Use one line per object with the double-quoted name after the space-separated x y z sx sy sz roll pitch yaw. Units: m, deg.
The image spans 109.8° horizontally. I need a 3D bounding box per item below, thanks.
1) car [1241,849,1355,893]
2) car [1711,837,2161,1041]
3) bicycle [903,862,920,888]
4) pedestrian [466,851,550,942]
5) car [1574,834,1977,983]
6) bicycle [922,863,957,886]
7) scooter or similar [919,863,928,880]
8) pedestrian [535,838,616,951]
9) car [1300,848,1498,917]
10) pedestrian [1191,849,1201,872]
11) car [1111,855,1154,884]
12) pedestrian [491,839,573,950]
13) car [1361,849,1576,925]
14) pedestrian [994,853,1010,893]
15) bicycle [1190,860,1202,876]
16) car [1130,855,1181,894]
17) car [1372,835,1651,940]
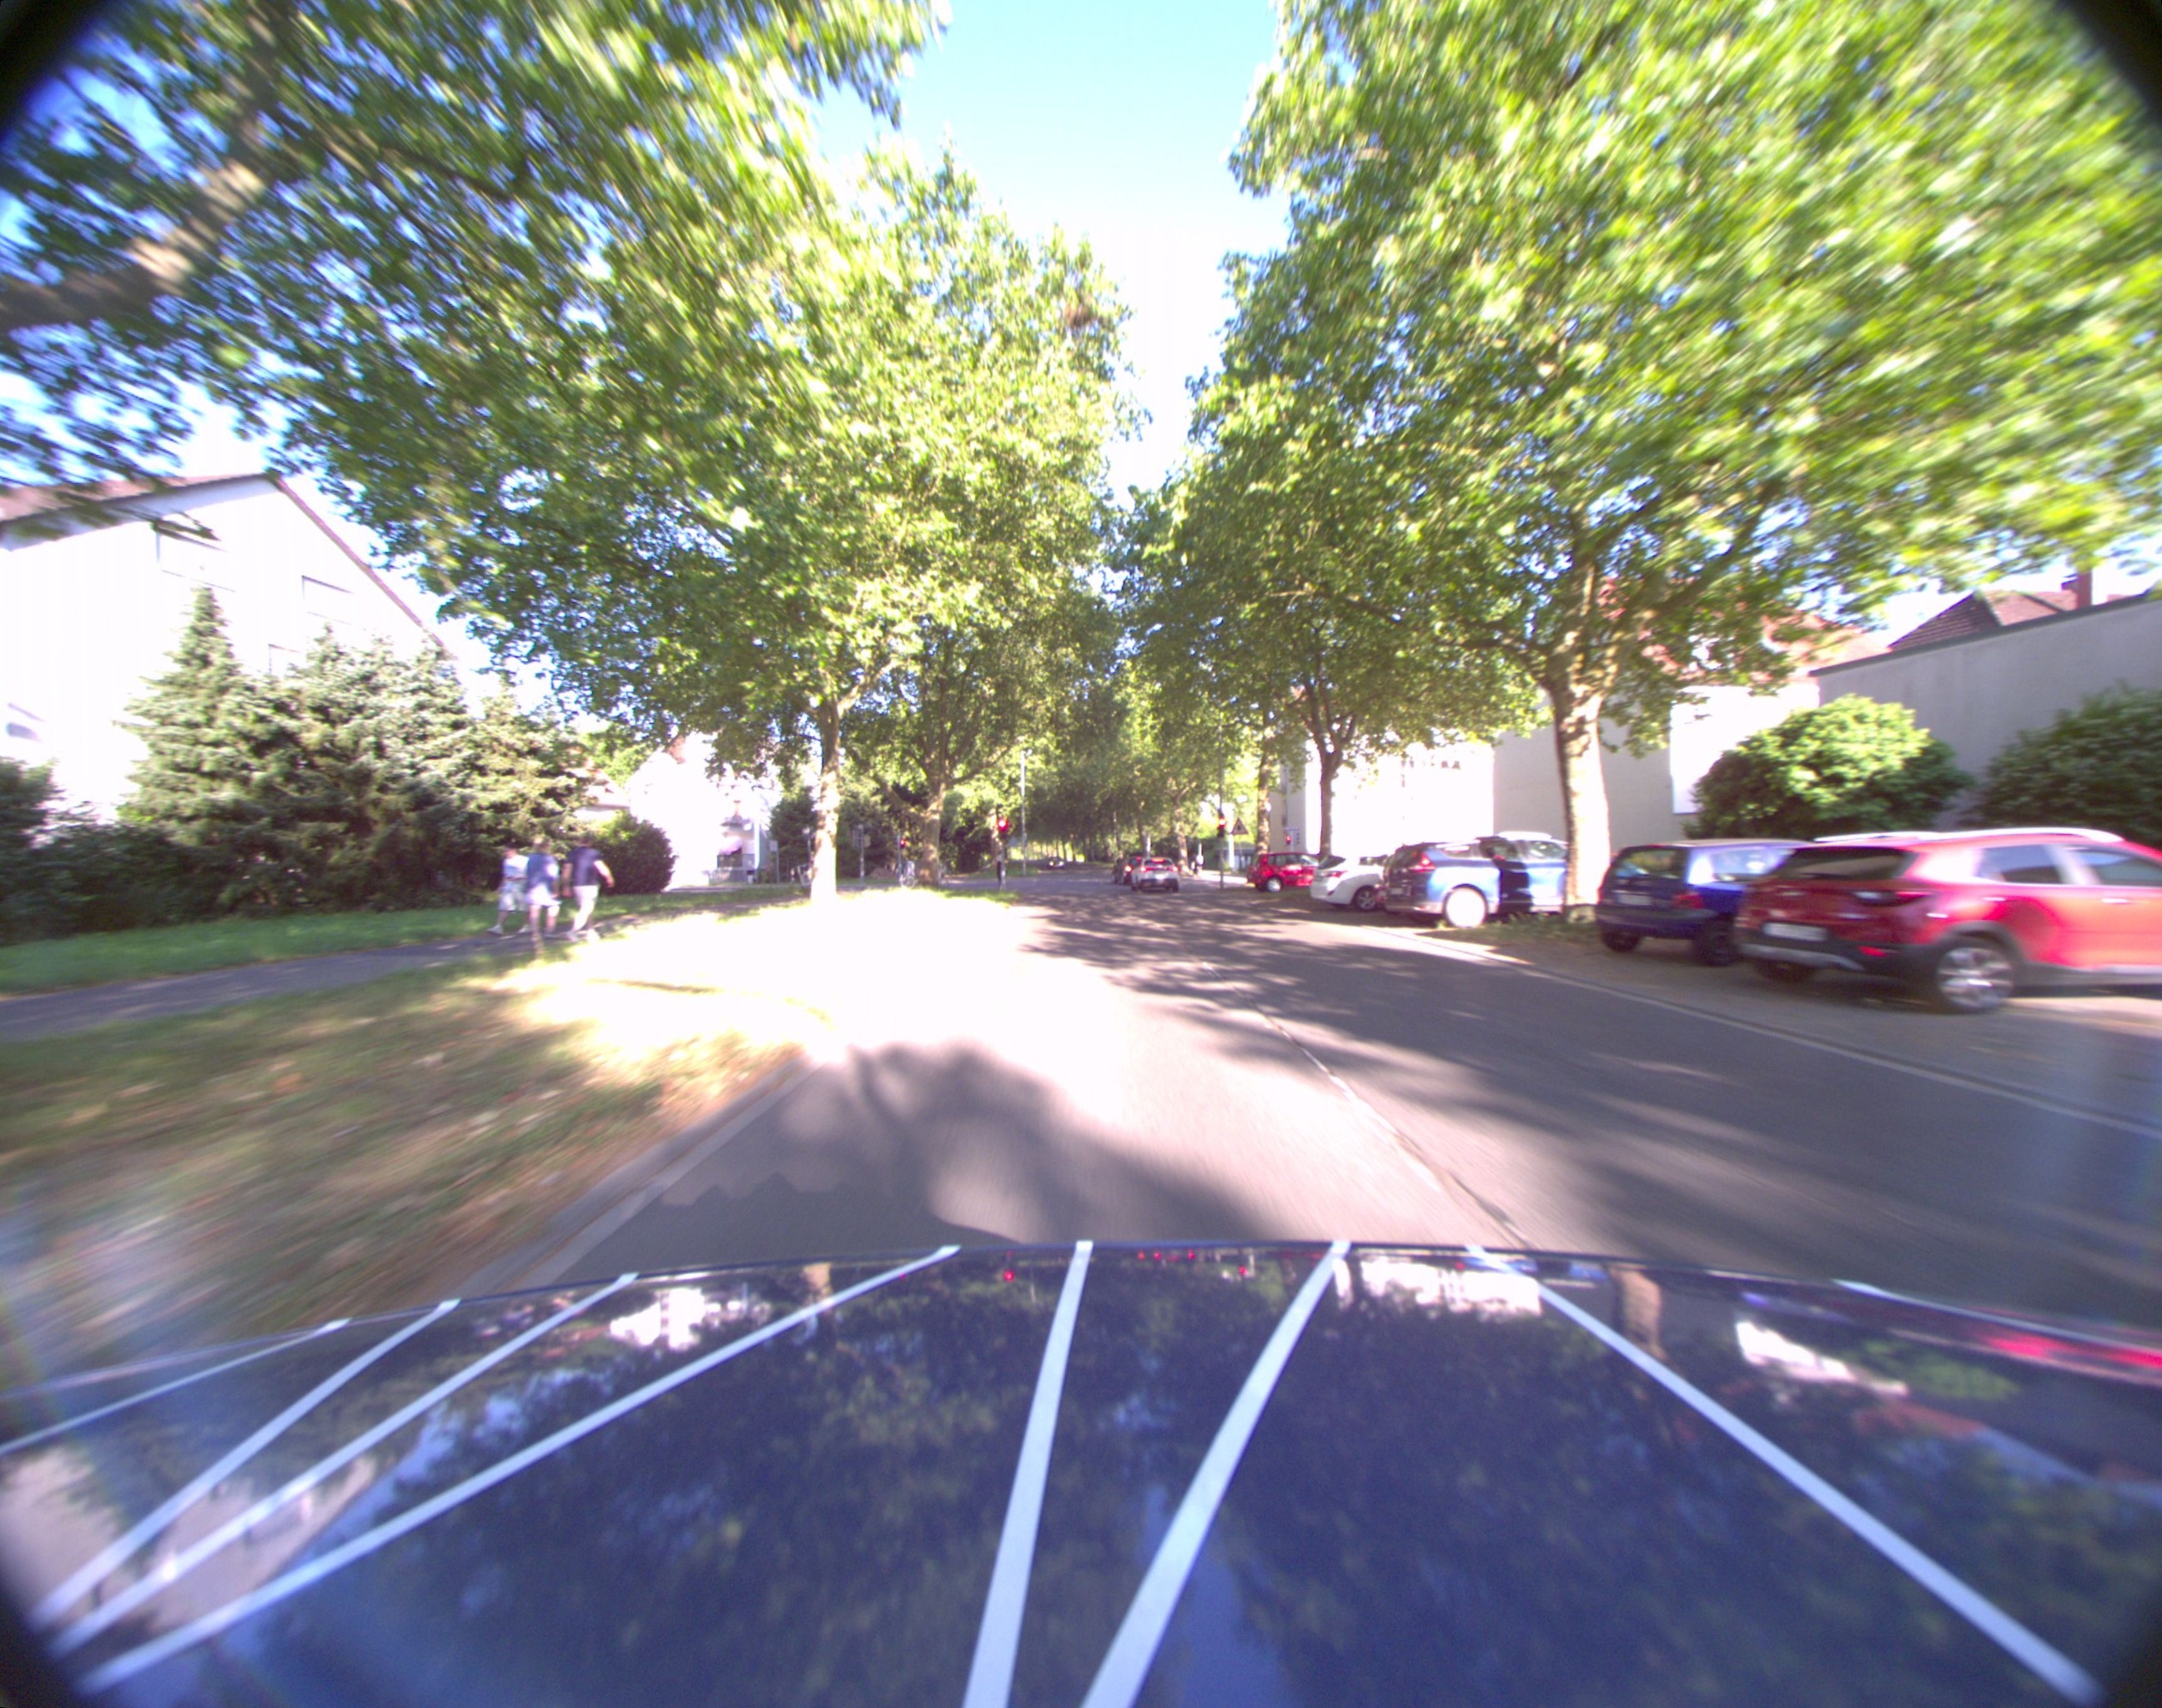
8.244 0.635 29.054 3.775 1.526 1.831 -2 1 -3 "car"
8.254 0.654 6.859 3.651 1.508 1.782 -2 0 -1 "car"
-7.498 0.925 33.582 0.447 1.076 2.004 1 -2 -21 "bicycle"
-10.588 0.760 14.070 0.781 1.640 0.939 0 0 7 "pedestrian"
8.402 0.600 9.395 3.522 1.508 1.726 -2 0 -5 "car"
-6.424 0.947 34.497 1.715 1.028 0.447 -1 -2 34 "bicycle"
-10.943 1.197 52.743 0.383 1.189 1.254 -2 0 -3 "scooter or similar"
-8.437 0.658 12.712 0.763 1.835 0.787 -1 0 3 "pedestrian"
7.871 0.675 19.067 4.173 1.492 1.875 -2 0 -3 "car"
7.961 0.444 52.641 0.510 1.523 1.034 -1 2 1 "pedestrian"
2.711 0.797 41.019 1.731 1.455 4.066 -1 0 -5 "car"
-9.334 0.672 12.945 0.756 1.836 0.802 -1 0 3 "pedestrian"
8.307 0.678 16.528 3.768 1.475 1.754 -1 0 -1 "car"
-3.439 0.817 33.005 0.636 1.709 0.825 1 0 -9 "pedestrian"
7.984 0.957 52.663 0.510 1.036 2.152 0 2 1 "bicycle"
3.144 0.836 32.769 1.721 1.492 4.093 -2 0 0 "car"
7.797 0.569 14.047 4.102 1.706 1.831 -2 0 -1 "car"
